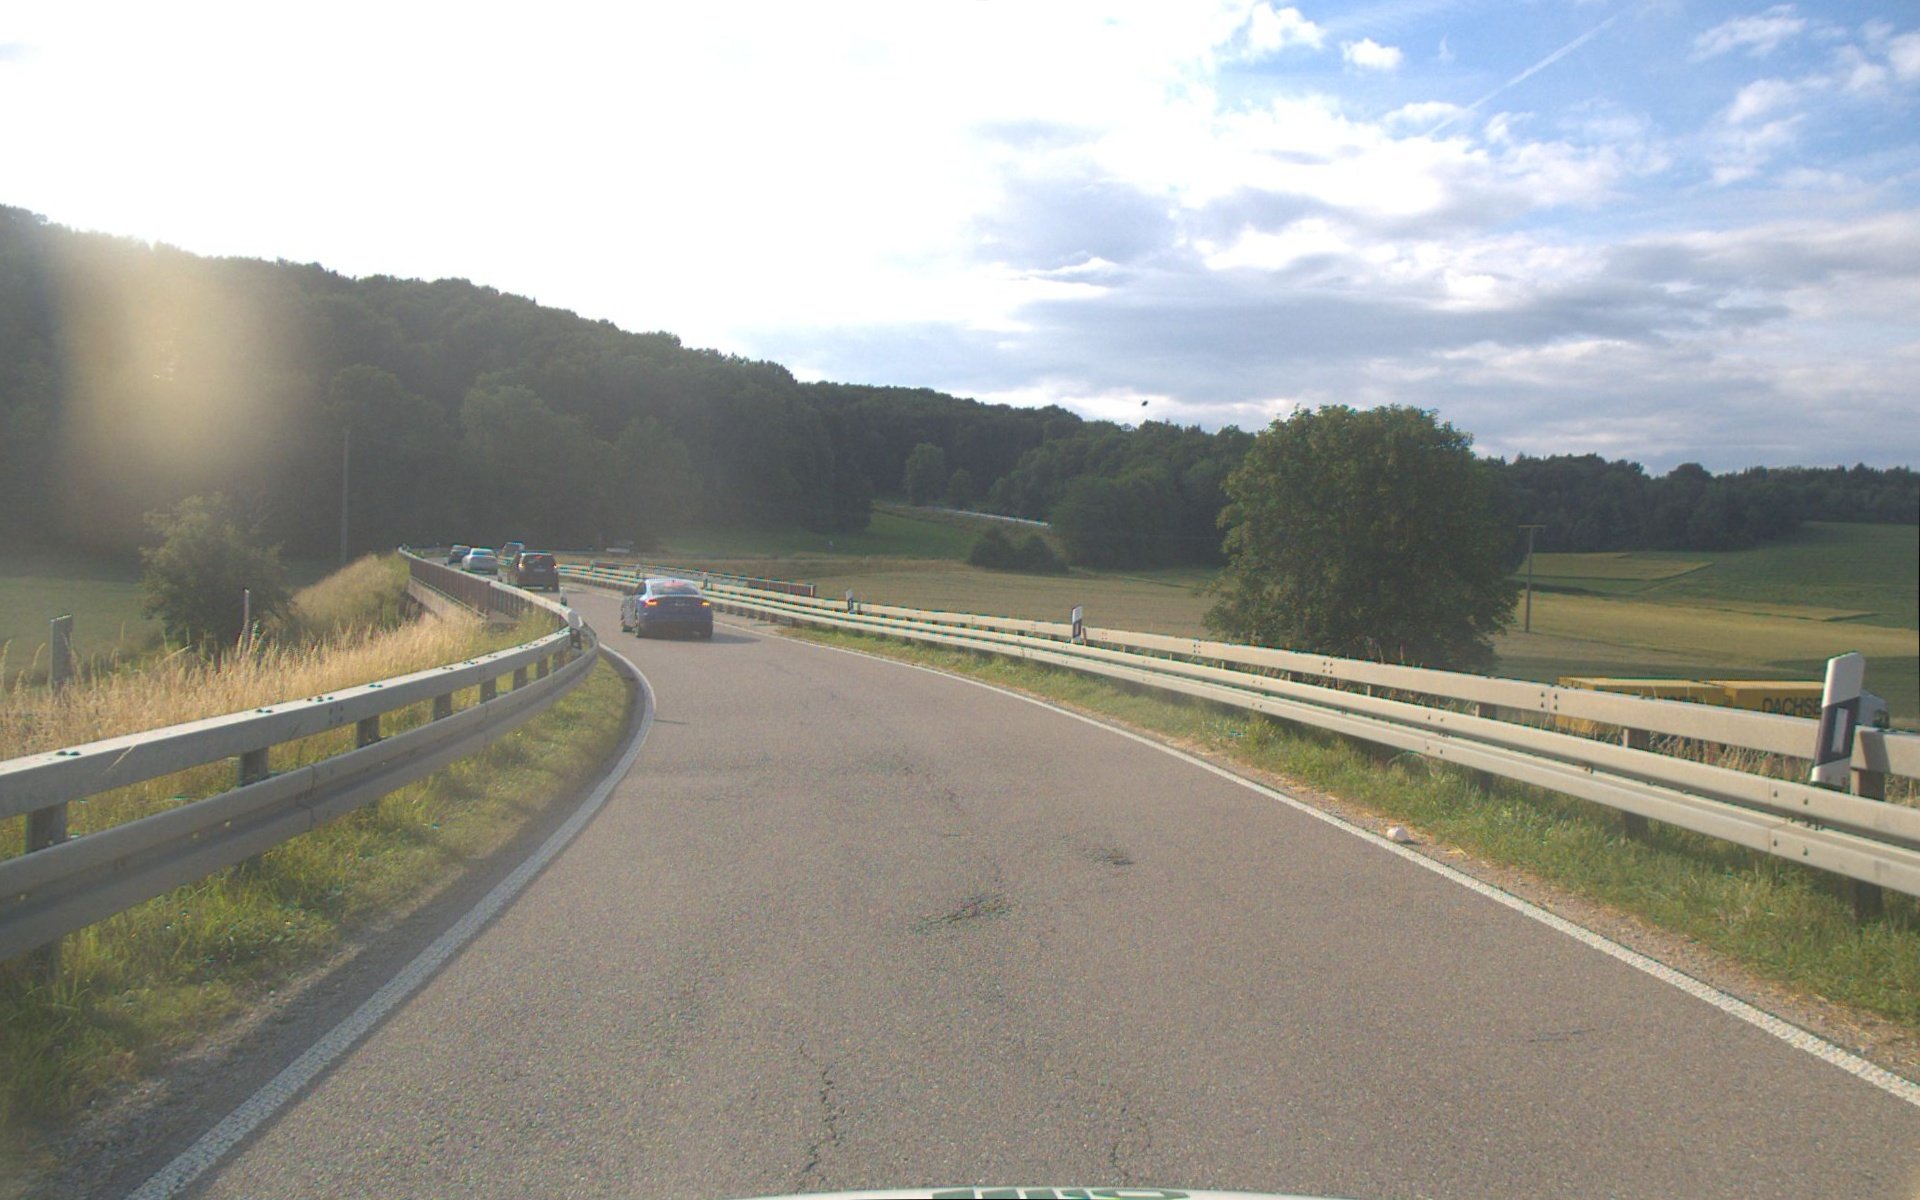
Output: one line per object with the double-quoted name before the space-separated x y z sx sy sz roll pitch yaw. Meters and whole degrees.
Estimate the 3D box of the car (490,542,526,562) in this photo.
"car" -45.330 -4.780 165.890 1.951 1.708 4.181 4 0 8

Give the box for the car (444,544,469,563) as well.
"car" -36.605 -3.402 120.302 1.446 1.248 3.289 2 2 -13

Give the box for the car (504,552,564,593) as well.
"car" -18.330 -1.188 71.081 1.837 1.596 3.972 2 1 -24

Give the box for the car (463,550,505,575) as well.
"car" -28.058 -2.228 97.435 1.662 1.400 3.965 2 1 -27

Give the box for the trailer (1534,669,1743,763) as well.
"trailer" 32.153 5.472 78.390 8.965 4.131 3.815 2 -1 -20

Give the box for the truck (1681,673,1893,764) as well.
"truck" 40.797 5.842 81.609 9.626 4.131 3.815 2 -1 -20

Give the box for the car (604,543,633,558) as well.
"car" -41.307 -5.956 200.113 1.951 1.802 4.004 0 1 14

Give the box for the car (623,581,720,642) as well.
"car" -7.126 0.231 40.496 1.790 1.362 4.329 0 1 -18
